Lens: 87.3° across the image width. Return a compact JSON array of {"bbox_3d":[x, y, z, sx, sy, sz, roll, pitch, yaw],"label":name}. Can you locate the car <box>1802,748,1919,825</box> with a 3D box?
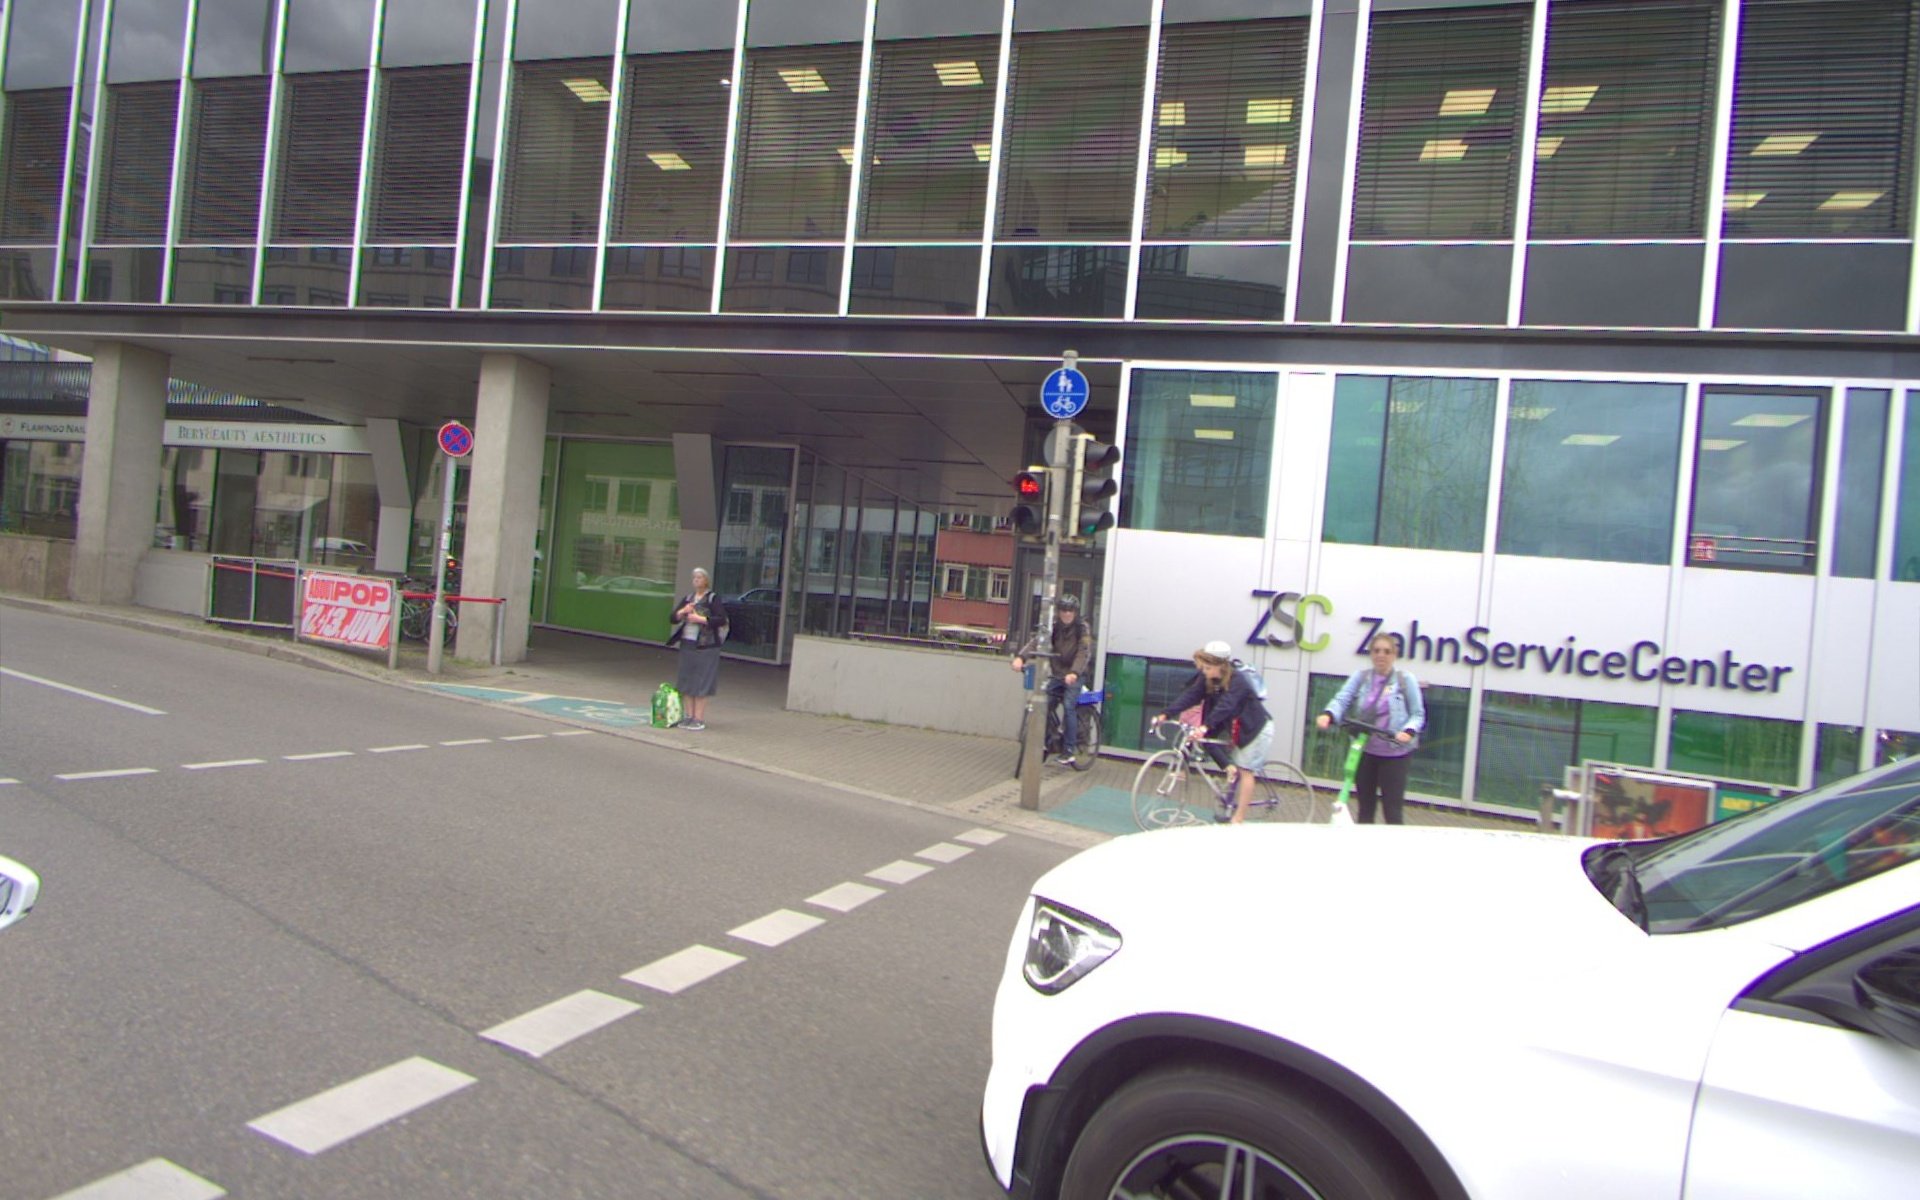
[{"bbox_3d":[26.661,5.353,28.495,1.964,1.597,3.999,7,-1,-3],"label":"car"}]

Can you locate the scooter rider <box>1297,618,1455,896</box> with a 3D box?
[{"bbox_3d":[2.913,1.083,7.080,0.634,1.832,0.590,5,1,-22],"label":"scooter rider"}]

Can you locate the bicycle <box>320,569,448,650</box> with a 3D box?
[{"bbox_3d":[-8.897,0.147,15.586,1.459,1.060,0.714,7,0,-1],"label":"bicycle"}]

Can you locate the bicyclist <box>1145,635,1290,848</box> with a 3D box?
[{"bbox_3d":[2.052,1.118,8.089,0.832,1.569,0.564,5,1,-9],"label":"bicyclist"}]

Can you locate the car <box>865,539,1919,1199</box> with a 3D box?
[{"bbox_3d":[2.103,0.945,1.788,4.264,1.667,1.802,6,1,34],"label":"car"}]

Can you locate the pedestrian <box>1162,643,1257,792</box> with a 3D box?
[{"bbox_3d":[2.702,1.240,10.887,0.823,1.461,0.606,6,1,16],"label":"pedestrian"}]

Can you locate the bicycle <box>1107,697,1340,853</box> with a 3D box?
[{"bbox_3d":[2.104,1.401,8.108,1.641,1.040,0.580,6,1,-9],"label":"bicycle"}]

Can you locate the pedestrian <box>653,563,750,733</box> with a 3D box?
[{"bbox_3d":[-2.784,0.501,10.854,0.738,1.734,0.526,5,1,15],"label":"pedestrian"}]

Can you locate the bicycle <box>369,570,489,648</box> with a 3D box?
[{"bbox_3d":[-8.615,0.153,16.369,1.459,1.060,0.714,7,0,-1],"label":"bicycle"}]

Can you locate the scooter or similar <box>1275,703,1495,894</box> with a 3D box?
[{"bbox_3d":[3.010,1.397,7.140,1.305,1.191,0.590,6,1,-22],"label":"scooter or similar"}]

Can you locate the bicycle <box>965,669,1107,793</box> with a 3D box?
[{"bbox_3d":[0.811,1.270,10.213,0.669,1.020,1.764,9,2,28],"label":"bicycle"}]

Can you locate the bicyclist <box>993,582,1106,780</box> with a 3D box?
[{"bbox_3d":[0.924,0.813,10.319,0.663,1.869,0.812,8,2,28],"label":"bicyclist"}]
